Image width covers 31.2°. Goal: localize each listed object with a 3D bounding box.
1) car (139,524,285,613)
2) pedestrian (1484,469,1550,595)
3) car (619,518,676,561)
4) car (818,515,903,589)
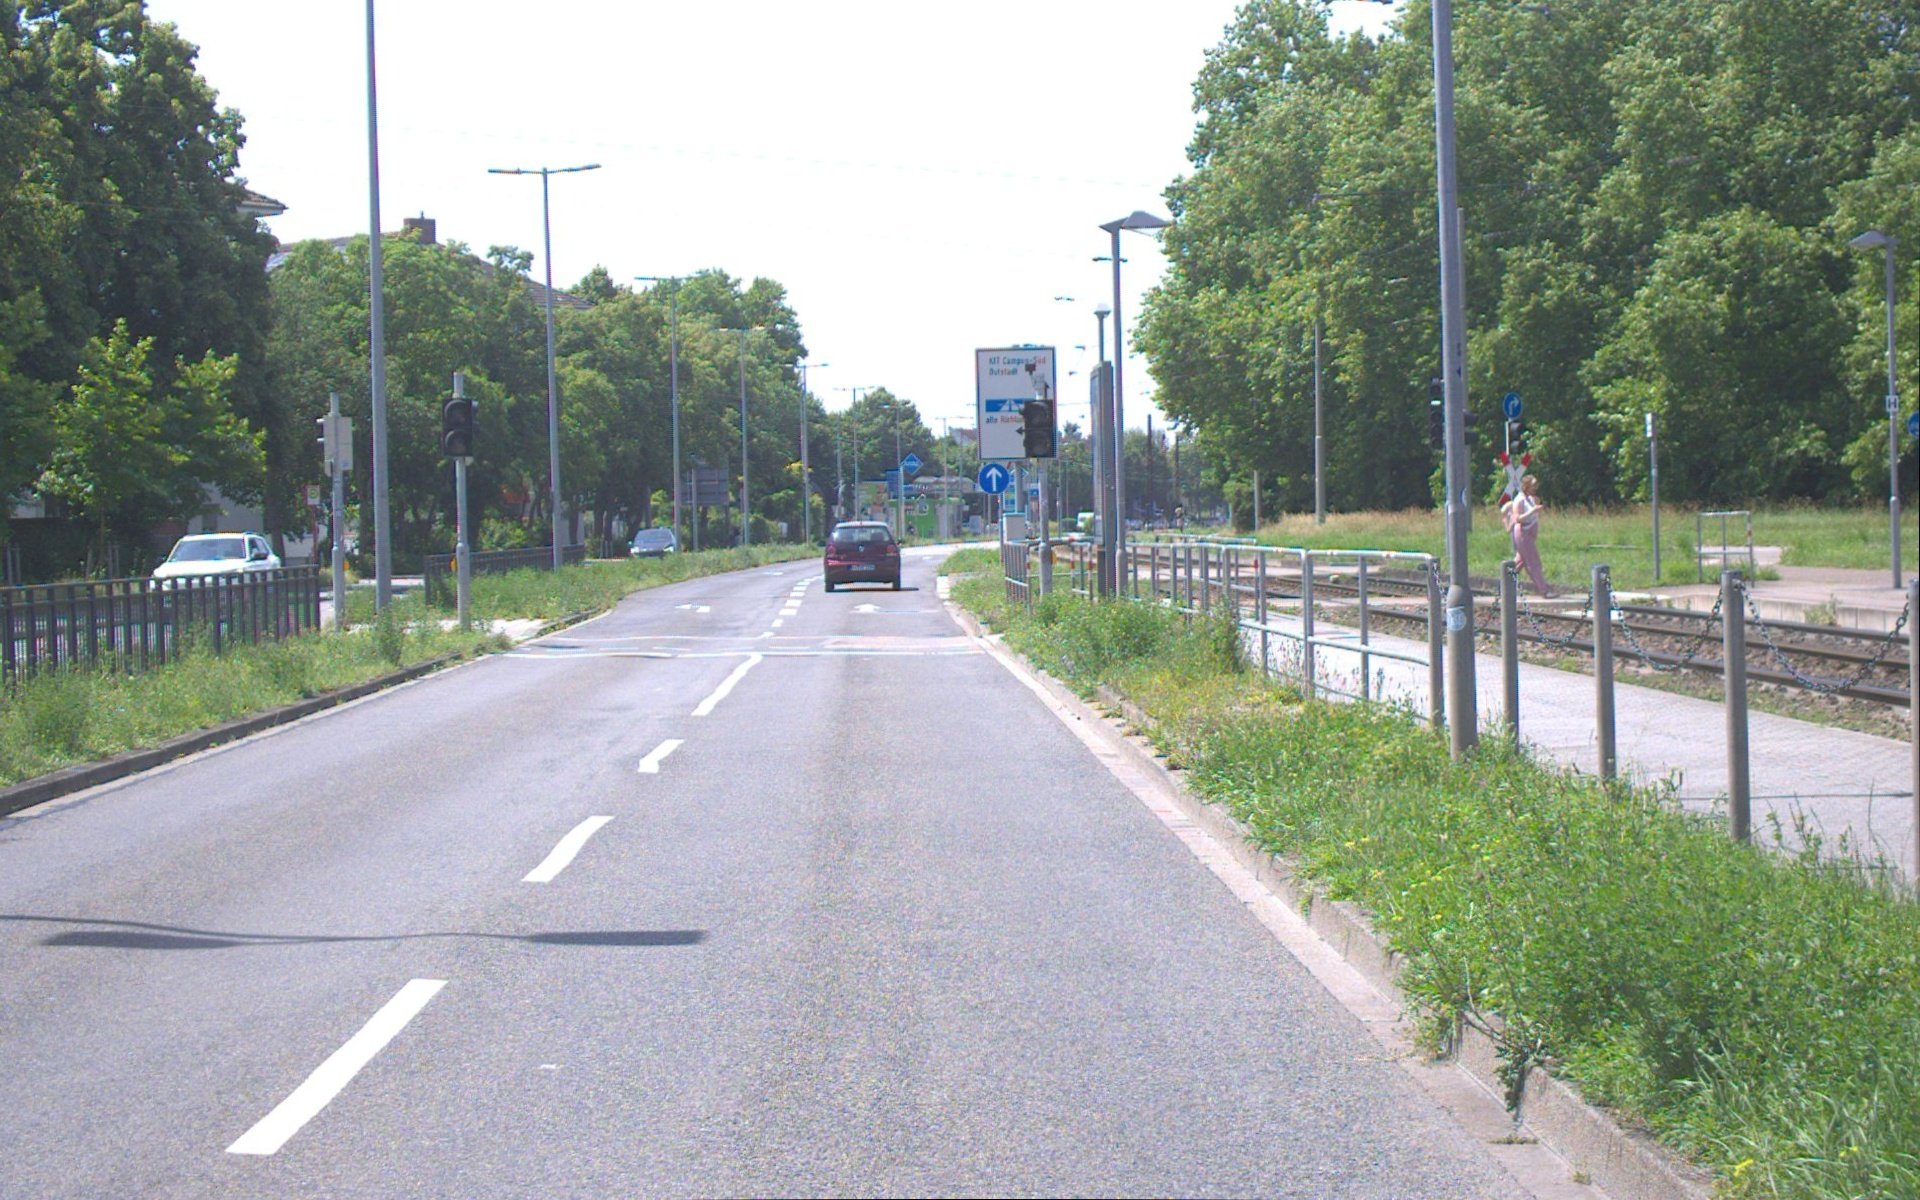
[{"bbox_3d":[-13.979,-0.617,64.474,1.821,1.567,4.347,-2,1,-1],"label":"car"},{"bbox_3d":[7.827,-0.950,48.304,0.634,1.753,0.817,0,0,-14],"label":"pedestrian"},{"bbox_3d":[-11.883,-2.310,130.816,1.756,1.538,4.161,-2,1,0],"label":"car"},{"bbox_3d":[-2.093,-1.040,73.405,1.703,1.472,3.717,-2,1,0],"label":"car"}]
